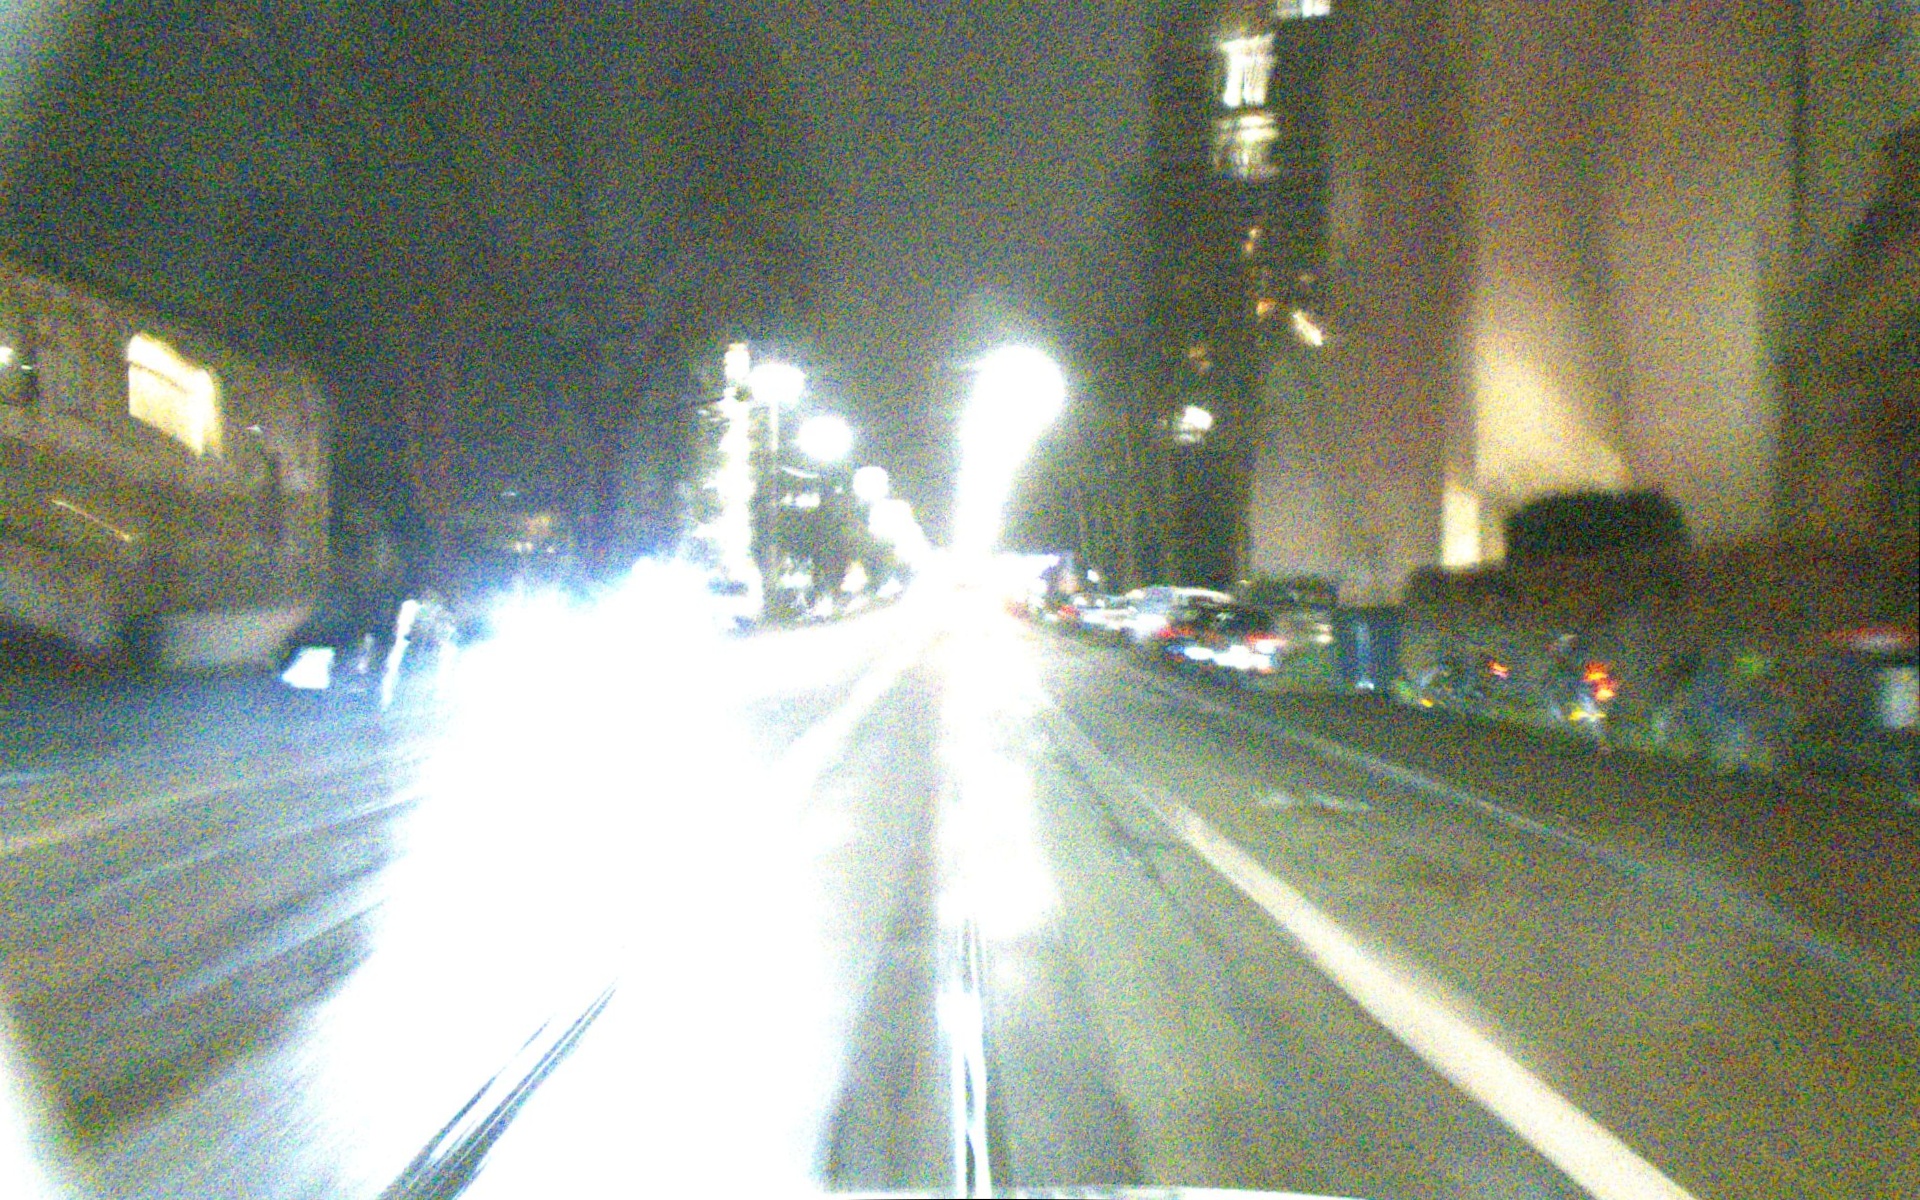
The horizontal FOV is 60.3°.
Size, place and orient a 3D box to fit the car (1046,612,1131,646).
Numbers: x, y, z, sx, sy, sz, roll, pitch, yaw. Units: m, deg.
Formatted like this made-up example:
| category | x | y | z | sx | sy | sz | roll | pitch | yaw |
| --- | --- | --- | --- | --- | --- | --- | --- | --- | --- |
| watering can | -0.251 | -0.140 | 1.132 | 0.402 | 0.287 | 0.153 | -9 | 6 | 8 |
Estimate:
| category | x | y | z | sx | sy | sz | roll | pitch | yaw |
| --- | --- | --- | --- | --- | --- | --- | --- | --- | --- |
| car | 6.471 | 1.461 | 82.983 | 4.216 | 1.479 | 1.919 | 3 | 0 | -45 |

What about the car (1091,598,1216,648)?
| category | x | y | z | sx | sy | sz | roll | pitch | yaw |
| --- | --- | --- | --- | --- | --- | --- | --- | --- | --- |
| car | 6.059 | 0.668 | 51.452 | 1.662 | 1.429 | 4.432 | 2 | 2 | 41 |

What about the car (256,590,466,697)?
| category | x | y | z | sx | sy | sz | roll | pitch | yaw |
| --- | --- | --- | --- | --- | --- | --- | --- | --- | --- |
| car | -9.046 | 0.647 | 25.322 | 1.634 | 1.411 | 4.001 | 3 | -1 | 1 |

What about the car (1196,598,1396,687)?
| category | x | y | z | sx | sy | sz | roll | pitch | yaw |
| --- | --- | --- | --- | --- | --- | --- | --- | --- | --- |
| car | 6.285 | 0.801 | 30.735 | 3.759 | 1.483 | 1.743 | 3 | 0 | -43 |

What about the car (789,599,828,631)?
| category | x | y | z | sx | sy | sz | roll | pitch | yaw |
| --- | --- | --- | --- | --- | --- | --- | --- | --- | --- |
| car | -9.263 | 0.905 | 101.433 | 2.066 | 1.795 | 4.962 | 3 | -1 | -3 |

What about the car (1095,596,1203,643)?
| category | x | y | z | sx | sy | sz | roll | pitch | yaw |
| --- | --- | --- | --- | --- | --- | --- | --- | --- | --- |
| car | 6.640 | 0.708 | 57.881 | 1.791 | 1.458 | 3.829 | 3 | 0 | 44 |

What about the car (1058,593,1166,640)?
| category | x | y | z | sx | sy | sz | roll | pitch | yaw |
| --- | --- | --- | --- | --- | --- | --- | --- | --- | --- |
| car | 5.599 | 0.608 | 60.741 | 3.855 | 1.560 | 1.794 | 2 | 0 | -42 |

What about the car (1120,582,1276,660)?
| category | x | y | z | sx | sy | sz | roll | pitch | yaw |
| --- | --- | --- | --- | --- | --- | --- | --- | --- | --- |
| car | 6.486 | 0.594 | 44.819 | 4.138 | 1.871 | 1.933 | 3 | 0 | -42 |

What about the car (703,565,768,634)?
| category | x | y | z | sx | sy | sz | roll | pitch | yaw |
| --- | --- | --- | --- | --- | --- | --- | --- | --- | --- |
| car | -9.052 | -0.043 | 67.201 | 1.984 | 2.542 | 5.605 | 3 | 0 | -3 |

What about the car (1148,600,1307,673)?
| category | x | y | z | sx | sy | sz | roll | pitch | yaw |
| --- | --- | --- | --- | --- | --- | --- | --- | --- | --- |
| car | 6.026 | 0.841 | 37.007 | 1.574 | 1.463 | 3.807 | 2 | -1 | 45 |

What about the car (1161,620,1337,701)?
| category | x | y | z | sx | sy | sz | roll | pitch | yaw |
| --- | --- | --- | --- | --- | --- | --- | --- | --- | --- |
| car | 5.921 | 1.190 | 33.661 | 1.775 | 1.514 | 3.833 | 1 | 0 | 42 |

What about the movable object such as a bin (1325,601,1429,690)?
| category | x | y | z | sx | sy | sz | roll | pitch | yaw |
| --- | --- | --- | --- | --- | --- | --- | --- | --- | --- |
| movable object such as a bin | 6.923 | 0.754 | 27.497 | 1.328 | 1.432 | 1.021 | 1 | 0 | -20 |

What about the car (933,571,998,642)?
| category | x | y | z | sx | sy | sz | roll | pitch | yaw |
| --- | --- | --- | --- | --- | --- | --- | --- | --- | --- |
| car | 0.156 | 0.228 | 62.592 | 2.172 | 2.484 | 5.382 | 2 | 0 | -2 |

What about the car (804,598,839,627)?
| category | x | y | z | sx | sy | sz | roll | pitch | yaw |
| --- | --- | --- | --- | --- | --- | --- | --- | --- | --- |
| car | -9.157 | 0.836 | 109.788 | 1.959 | 1.816 | 3.999 | 3 | -1 | -1 |

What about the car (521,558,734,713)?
| category | x | y | z | sx | sy | sz | roll | pitch | yaw |
| --- | --- | --- | --- | --- | --- | --- | --- | --- | --- |
| car | -4.289 | 0.406 | 22.049 | 1.899 | 1.847 | 4.385 | -1 | 0 | 1 |
